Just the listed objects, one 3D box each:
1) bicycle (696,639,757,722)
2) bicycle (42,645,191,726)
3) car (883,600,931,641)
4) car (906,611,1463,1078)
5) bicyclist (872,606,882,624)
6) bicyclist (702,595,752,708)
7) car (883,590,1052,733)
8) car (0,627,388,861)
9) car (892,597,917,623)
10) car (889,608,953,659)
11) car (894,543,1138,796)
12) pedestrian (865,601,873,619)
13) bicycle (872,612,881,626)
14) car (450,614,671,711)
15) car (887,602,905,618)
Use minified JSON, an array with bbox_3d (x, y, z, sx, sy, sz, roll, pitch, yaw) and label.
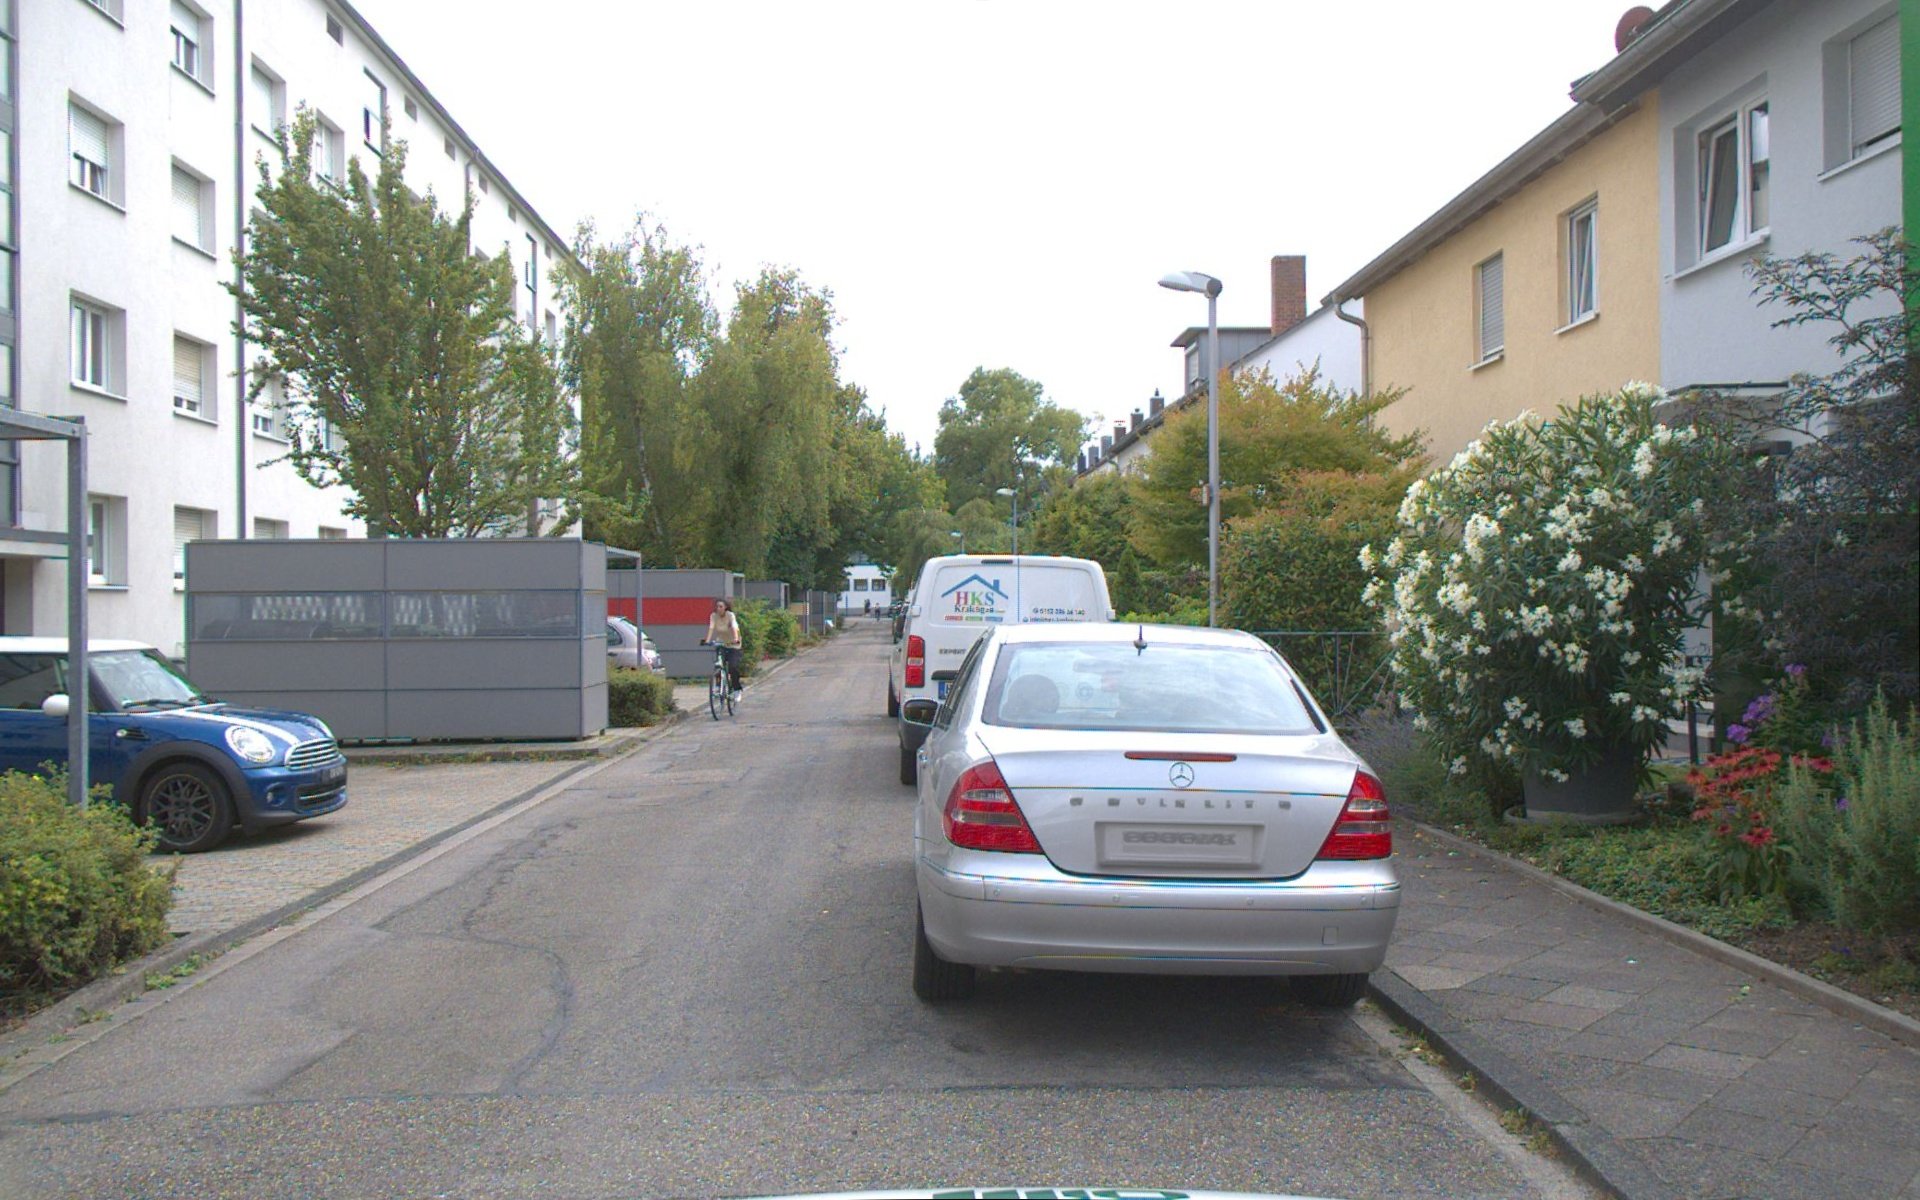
[{"bbox_3d":[-3.380,1.140,24.077,0.585,1.095,2.042,-2,0,-1],"label":"bicycle"},{"bbox_3d":[-11.750,1.171,23.067,1.796,1.042,0.471,-1,0,-44],"label":"bicycle"},{"bbox_3d":[-2.207,0.813,67.867,1.789,1.609,3.997,1,0,-4],"label":"car"},{"bbox_3d":[0.683,0.788,7.439,1.747,1.445,4.454,1,0,-1],"label":"car"},{"bbox_3d":[-7.171,1.278,142.511,0.782,1.537,0.934,1,-1,0],"label":"bicyclist"},{"bbox_3d":[-3.392,0.741,24.135,0.585,1.608,0.767,-2,0,-1],"label":"bicyclist"},{"bbox_3d":[-0.003,0.731,21.455,1.789,1.664,4.157,1,0,-5],"label":"car"},{"bbox_3d":[-6.200,1.000,11.884,3.560,1.487,1.653,-2,0,1],"label":"car"},{"bbox_3d":[-4.156,0.725,124.325,1.788,1.916,3.998,1,0,-2],"label":"car"},{"bbox_3d":[-1.172,0.951,49.117,1.788,1.394,4.329,1,0,-2],"label":"car"},{"bbox_3d":[0.344,0.566,15.769,1.866,1.999,5.250,1,0,-3],"label":"car"},{"bbox_3d":[-9.329,1.021,169.018,0.761,1.837,0.547,1,-1,-4],"label":"pedestrian"},{"bbox_3d":[-7.171,1.637,142.573,0.675,1.151,2.579,1,0,0],"label":"bicycle"},{"bbox_3d":[-6.879,1.054,28.782,3.494,1.506,1.708,-2,0,-7],"label":"car"},{"bbox_3d":[-6.358,0.986,165.152,1.788,1.609,3.998,1,0,-2],"label":"car"}]
